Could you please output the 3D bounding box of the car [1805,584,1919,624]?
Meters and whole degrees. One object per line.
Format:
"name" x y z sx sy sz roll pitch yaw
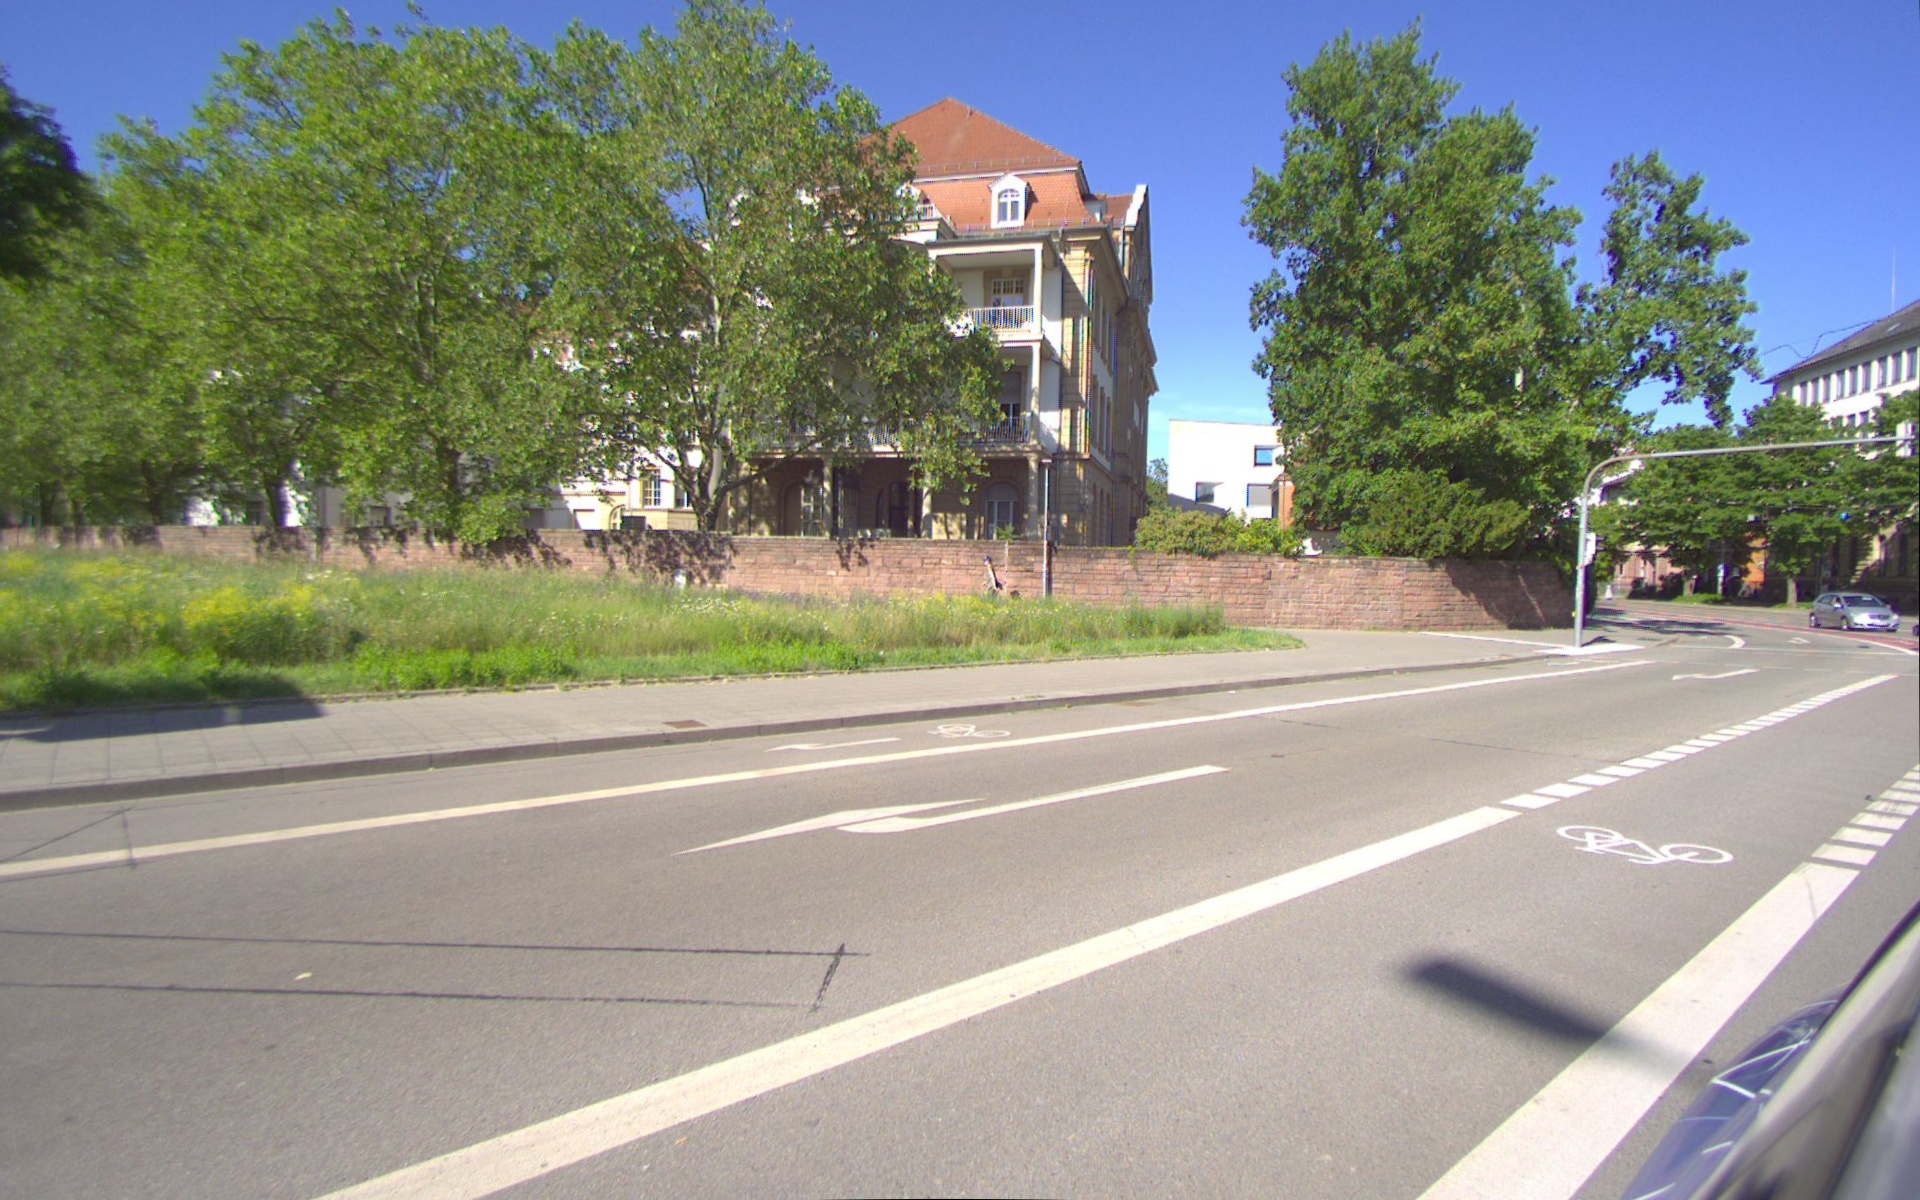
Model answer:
"car" 38.707 0.145 43.383 1.971 1.610 4.828 0 0 15

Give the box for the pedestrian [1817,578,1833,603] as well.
"pedestrian" 67.270 -0.736 78.705 0.568 1.927 0.849 1 1 12

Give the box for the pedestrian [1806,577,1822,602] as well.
"pedestrian" 66.525 -0.794 78.853 0.568 1.927 0.781 1 1 12

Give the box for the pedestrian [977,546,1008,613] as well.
"pedestrian" 0.934 -0.597 29.081 0.774 1.881 0.629 1 1 10
